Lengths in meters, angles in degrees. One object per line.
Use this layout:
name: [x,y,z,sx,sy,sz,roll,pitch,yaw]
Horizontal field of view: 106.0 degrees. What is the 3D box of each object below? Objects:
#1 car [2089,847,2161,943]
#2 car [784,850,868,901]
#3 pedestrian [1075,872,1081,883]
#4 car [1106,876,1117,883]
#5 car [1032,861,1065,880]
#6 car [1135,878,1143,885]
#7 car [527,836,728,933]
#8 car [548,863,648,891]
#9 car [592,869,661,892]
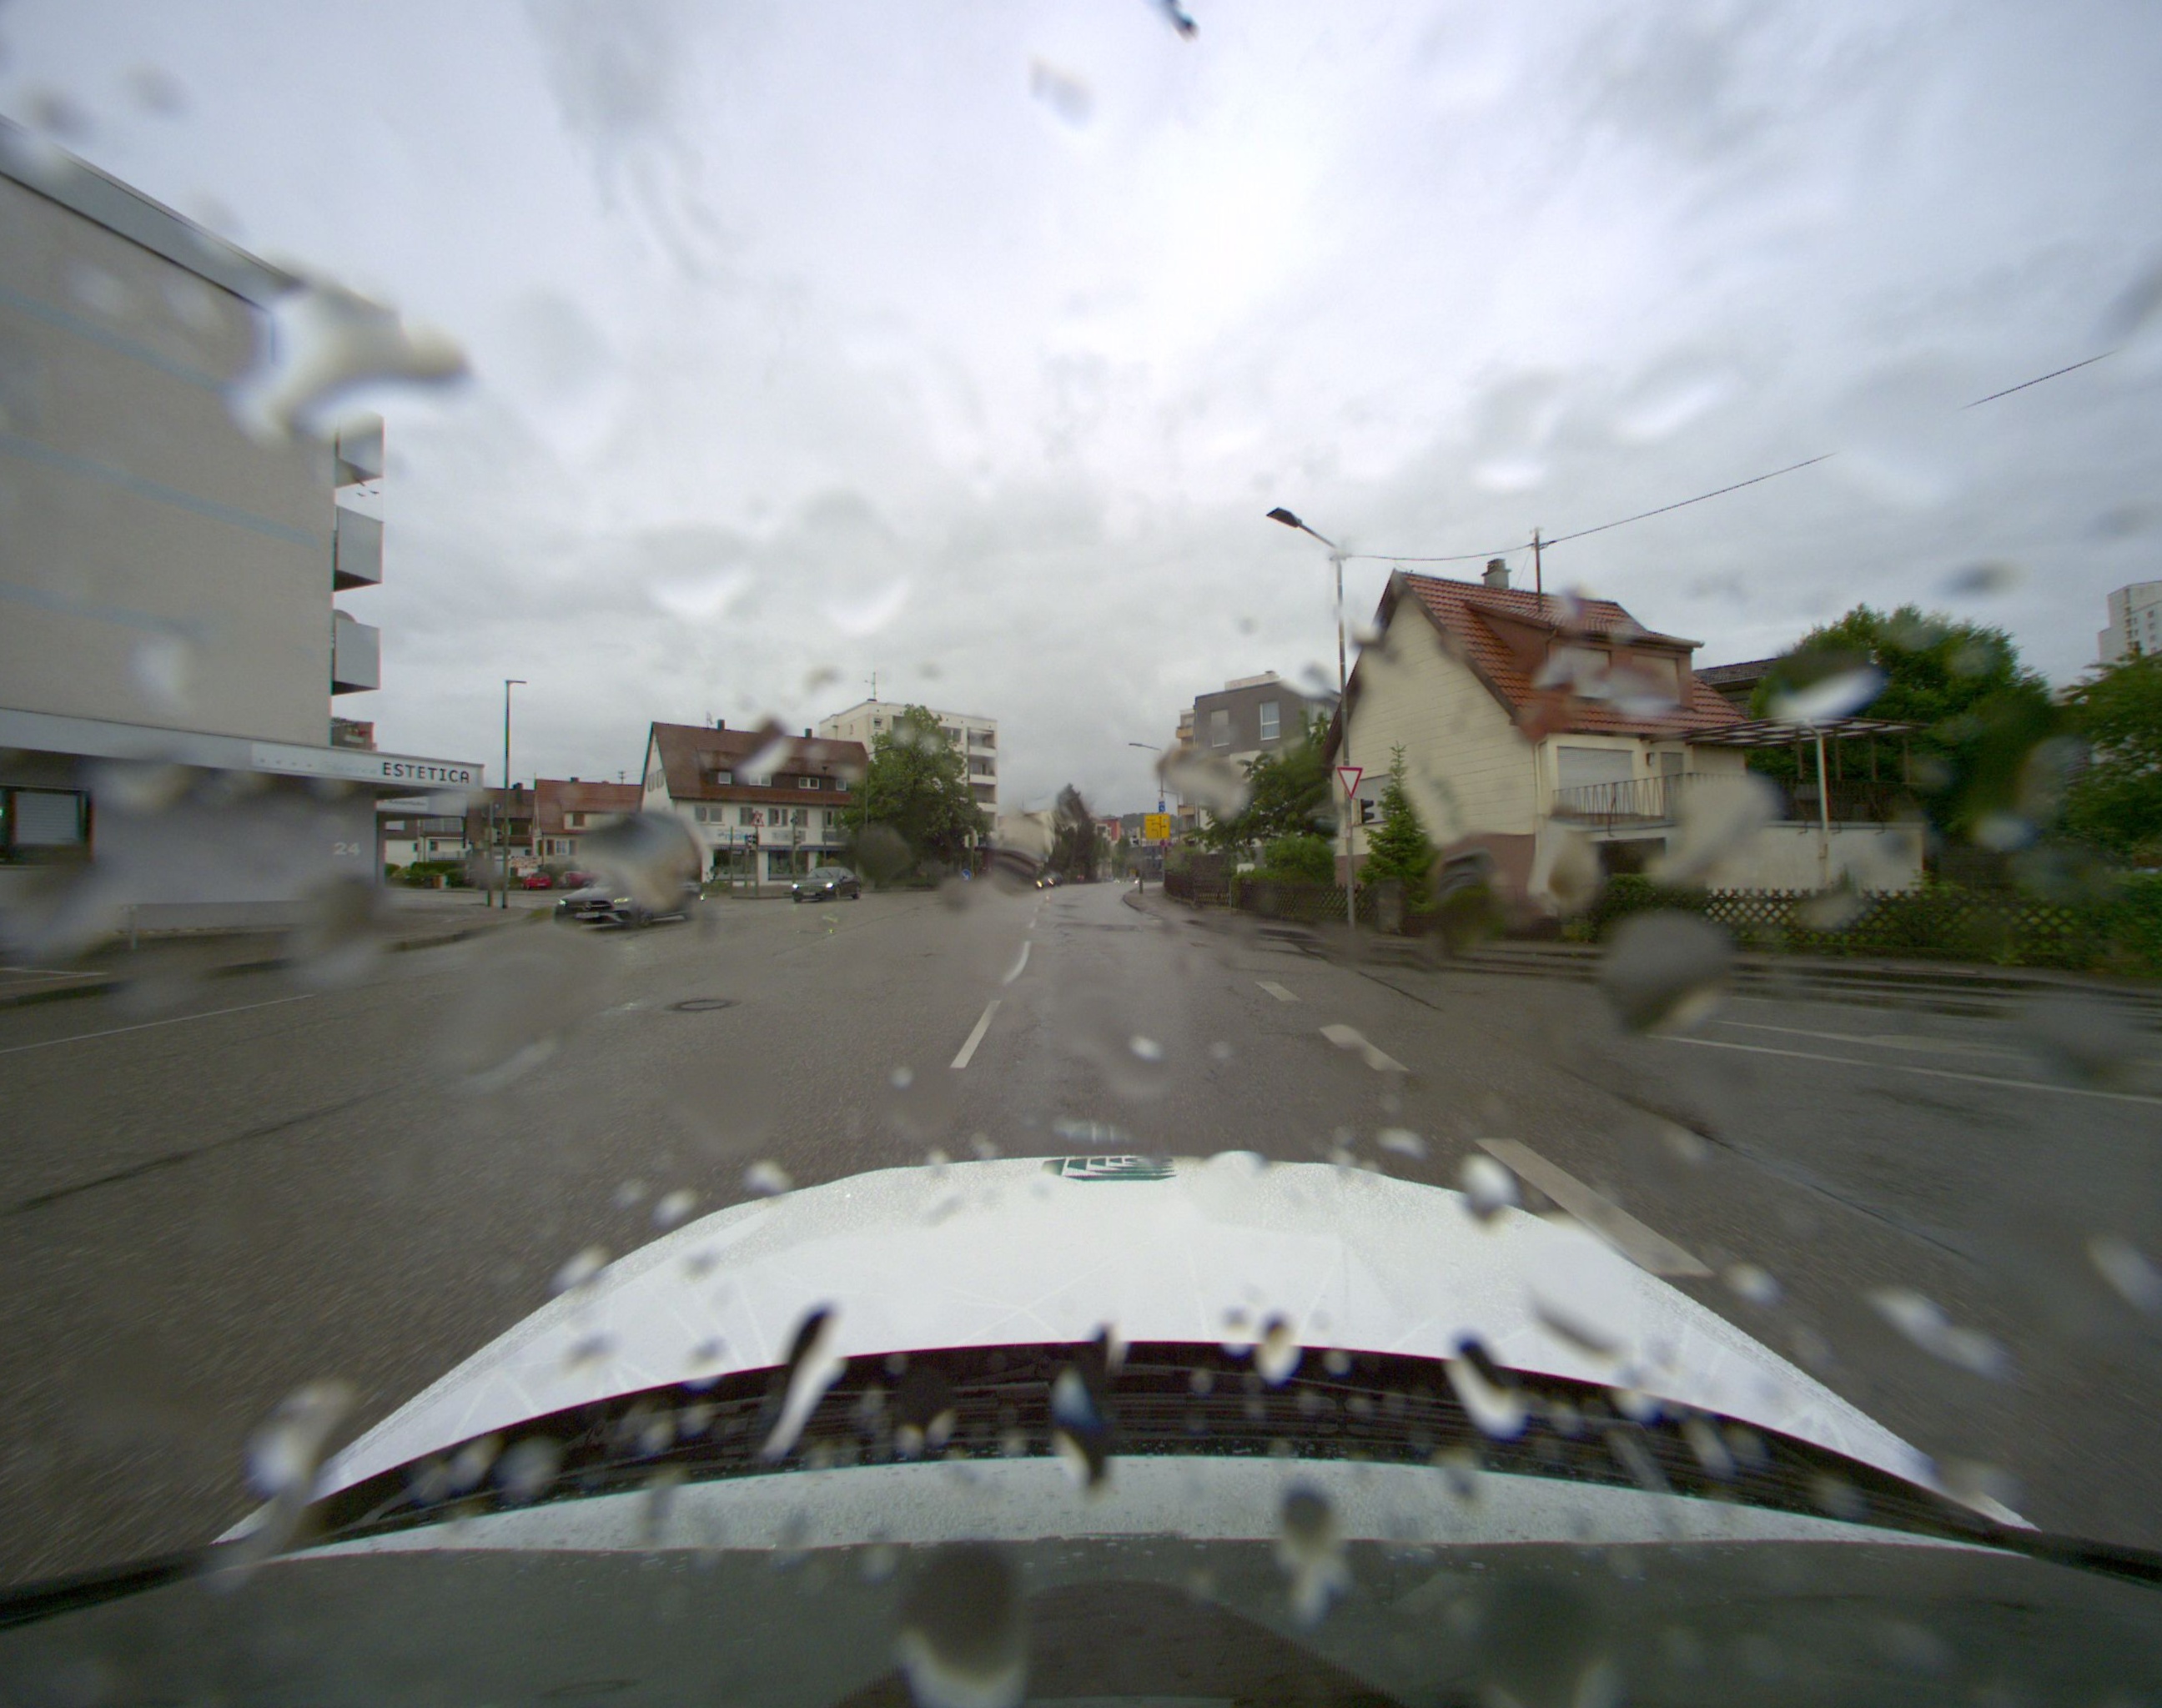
car: [18.848,0.624,13.654,1.827,1.496,3.765,-2,-1,42]
car: [-10.848,0.891,35.074,1.986,2.014,4.654,-1,-1,2]
pedestrian: [-0.515,3.817,131.980,0.866,1.607,1.103,-1,-3,1]
car: [6.458,5.477,173.757,1.641,1.521,4.336,-1,-2,10]
car: [-2.679,1.392,68.705,1.791,1.557,4.331,-1,-1,11]
car: [13.836,6.662,195.365,1.689,1.409,4.006,-4,-1,5]
car: [-11.300,0.707,20.973,2.086,2.013,5.971,-3,-1,-4]
car: [-34.566,1.616,58.371,5.884,1.842,1.976,0,-1,-43]
car: [-31.894,1.859,57.157,4.017,1.526,1.978,0,-1,-36]
